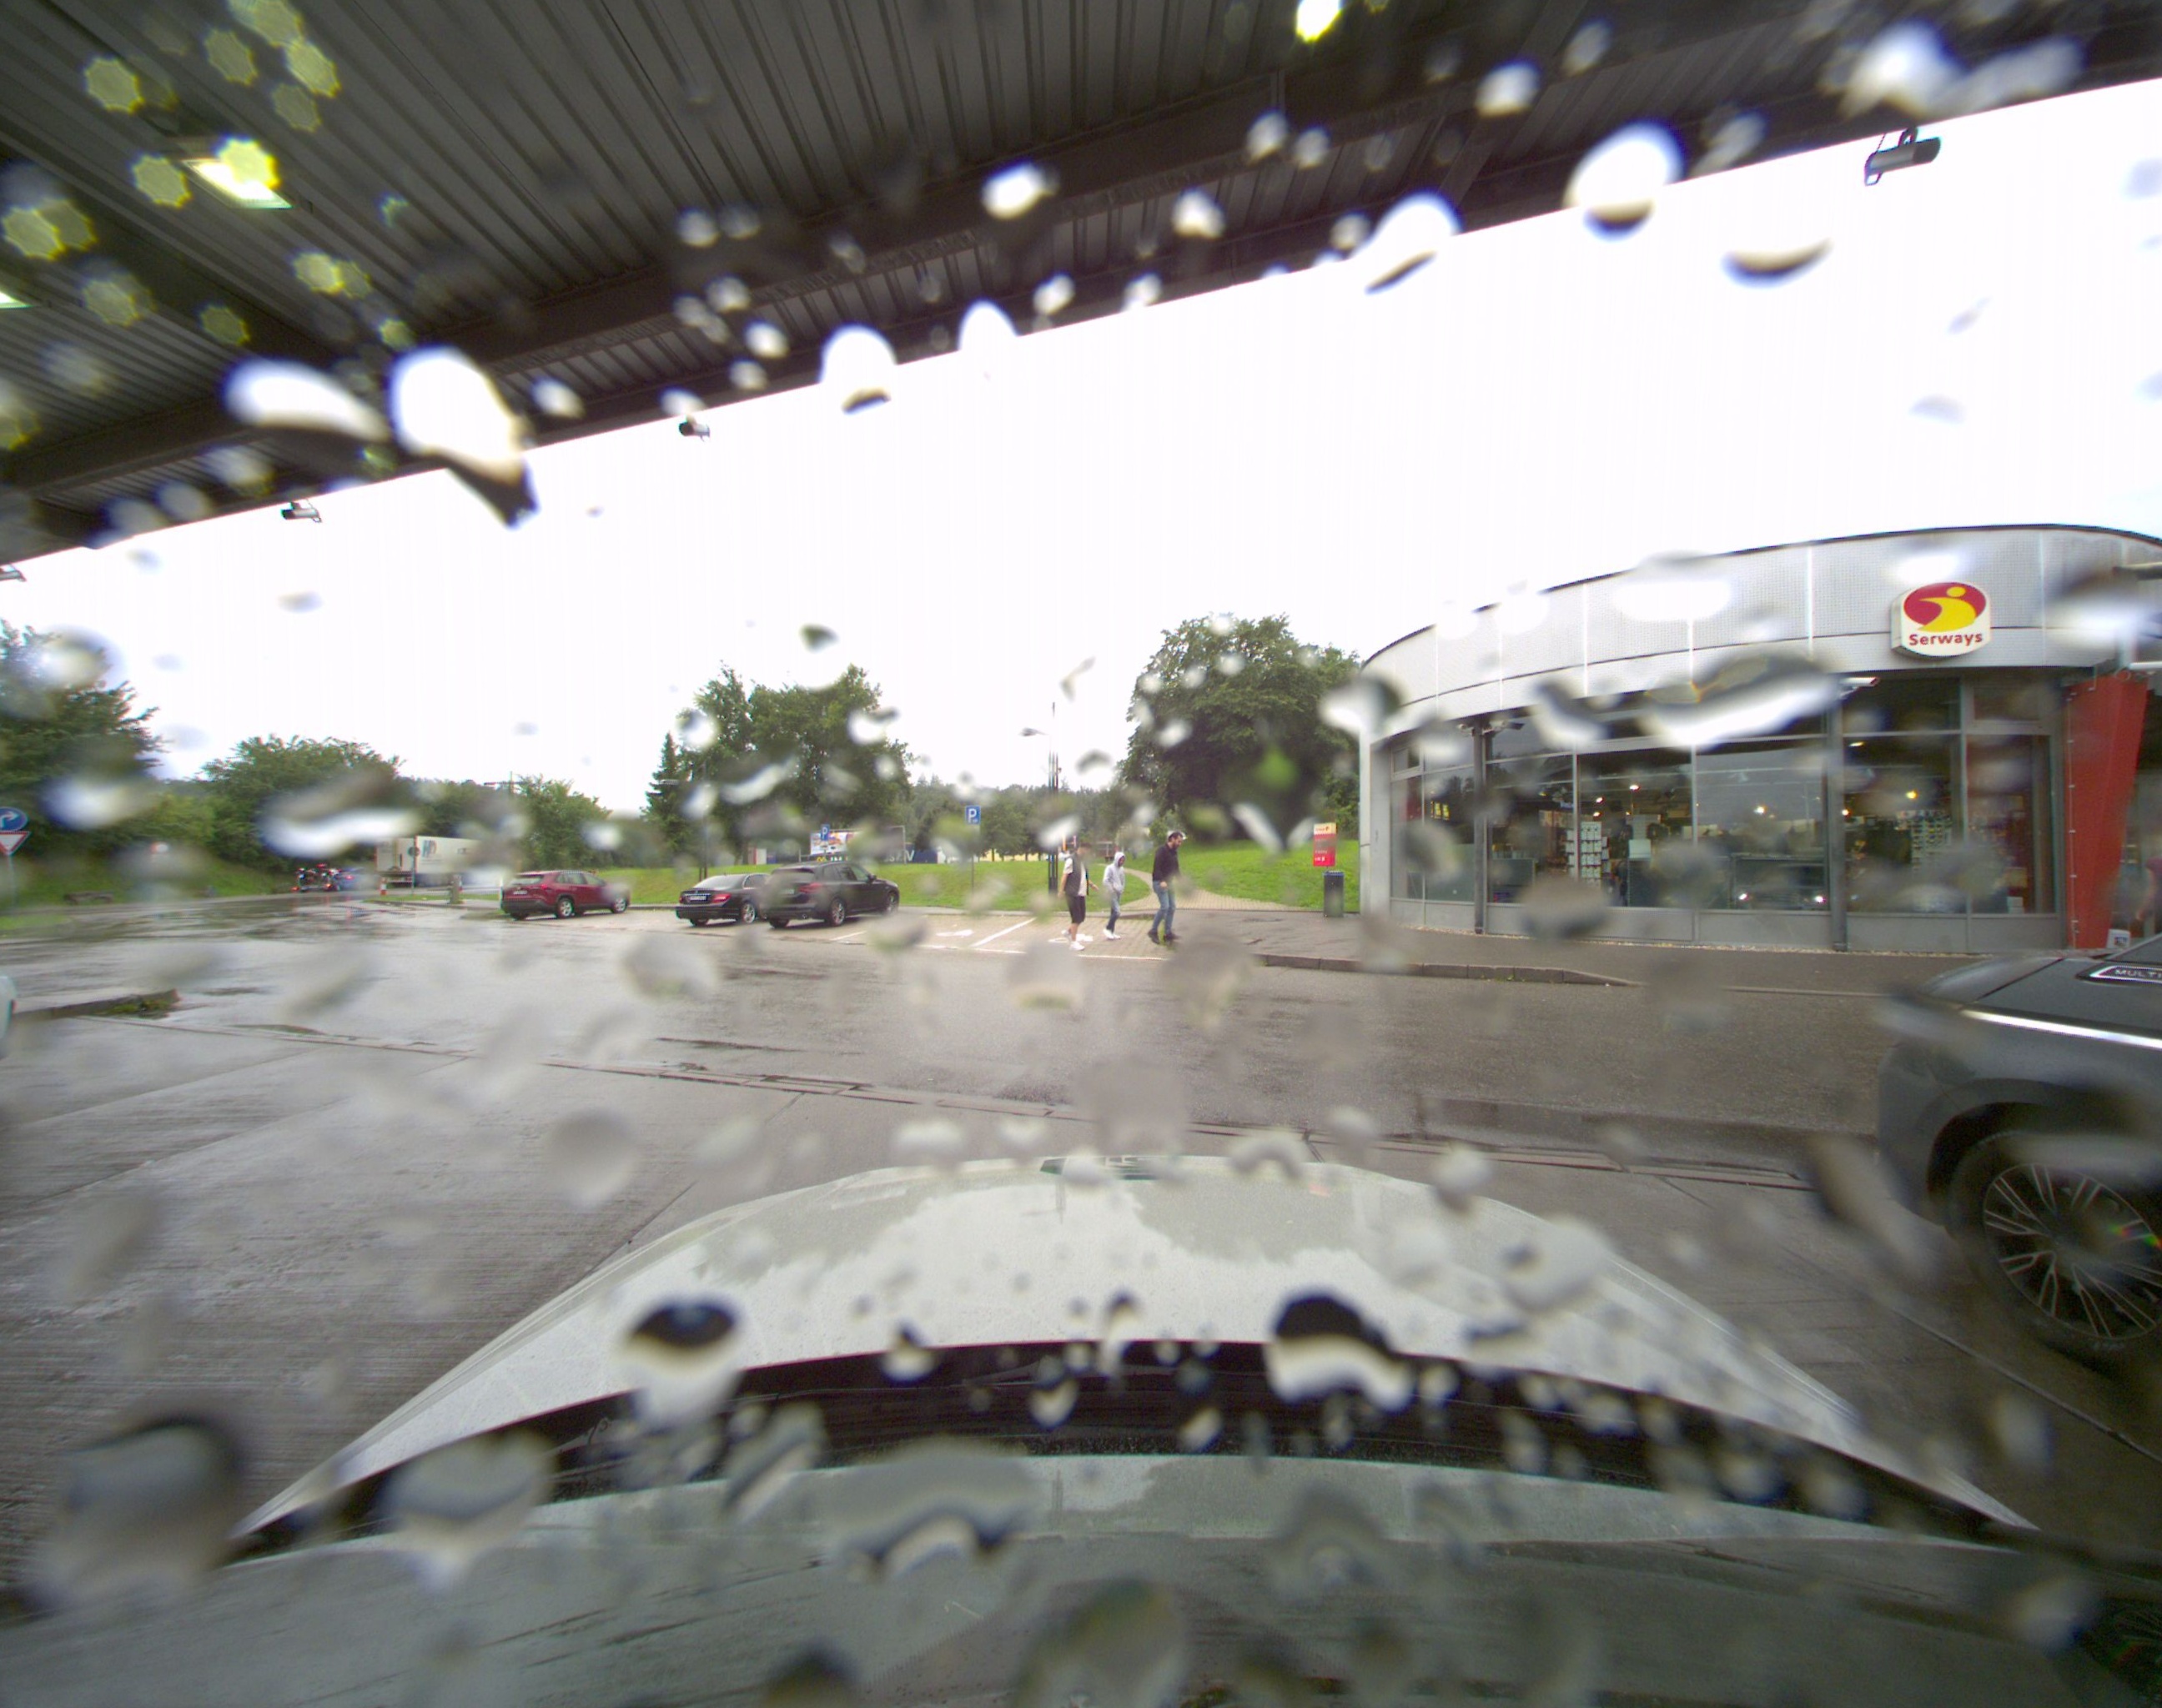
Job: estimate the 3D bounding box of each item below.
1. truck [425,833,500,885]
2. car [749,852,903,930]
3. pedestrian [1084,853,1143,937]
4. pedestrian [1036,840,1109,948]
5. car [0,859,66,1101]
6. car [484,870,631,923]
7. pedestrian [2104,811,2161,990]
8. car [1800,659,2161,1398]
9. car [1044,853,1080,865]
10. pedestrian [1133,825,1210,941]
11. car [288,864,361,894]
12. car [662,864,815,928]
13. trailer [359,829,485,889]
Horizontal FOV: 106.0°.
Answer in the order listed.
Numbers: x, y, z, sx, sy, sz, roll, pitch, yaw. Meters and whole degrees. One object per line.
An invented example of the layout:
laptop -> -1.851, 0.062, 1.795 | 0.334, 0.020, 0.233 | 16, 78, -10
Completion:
truck -> -57.106, 0.498, 75.421 | 3.467, 4.557, 6.694 | 0, -1, -18
car -> -6.615, 0.889, 21.739 | 1.871, 1.828, 4.429 | -2, 0, 13
pedestrian -> 0.621, 0.775, 15.688 | 0.880, 1.550, 0.665 | -2, 0, 31
pedestrian -> -0.145, 0.686, 14.418 | 0.963, 1.848, 0.778 | -2, 0, 30
car -> -7.823, 0.818, 3.077 | 1.810, 1.565, 4.999 | 0, 0, -2
car -> -18.157, 1.417, 28.520 | 1.873, 1.596, 4.364 | -2, 0, 8
pedestrian -> 10.925, 0.442, 8.046 | 0.786, 1.734, 0.845 | -2, -1, 37
car -> 3.716, 0.453, 1.228 | 1.809, 1.948, 4.002 | -1, 0, 2
car -> -3.176, 0.809, 134.076 | 5.376, 2.013, 2.468 | -1, 0, 21
pedestrian -> 1.517, 0.470, 13.642 | 0.989, 1.864, 0.804 | -2, 0, 30
car -> -49.221, 1.573, 53.089 | 1.934, 1.838, 4.361 | -1, 0, -20
car -> -9.616, 1.138, 23.296 | 1.871, 1.565, 4.200 | -2, 0, 13
trailer -> -54.884, 0.425, 68.480 | 3.466, 4.557, 13.827 | 0, -1, -18
